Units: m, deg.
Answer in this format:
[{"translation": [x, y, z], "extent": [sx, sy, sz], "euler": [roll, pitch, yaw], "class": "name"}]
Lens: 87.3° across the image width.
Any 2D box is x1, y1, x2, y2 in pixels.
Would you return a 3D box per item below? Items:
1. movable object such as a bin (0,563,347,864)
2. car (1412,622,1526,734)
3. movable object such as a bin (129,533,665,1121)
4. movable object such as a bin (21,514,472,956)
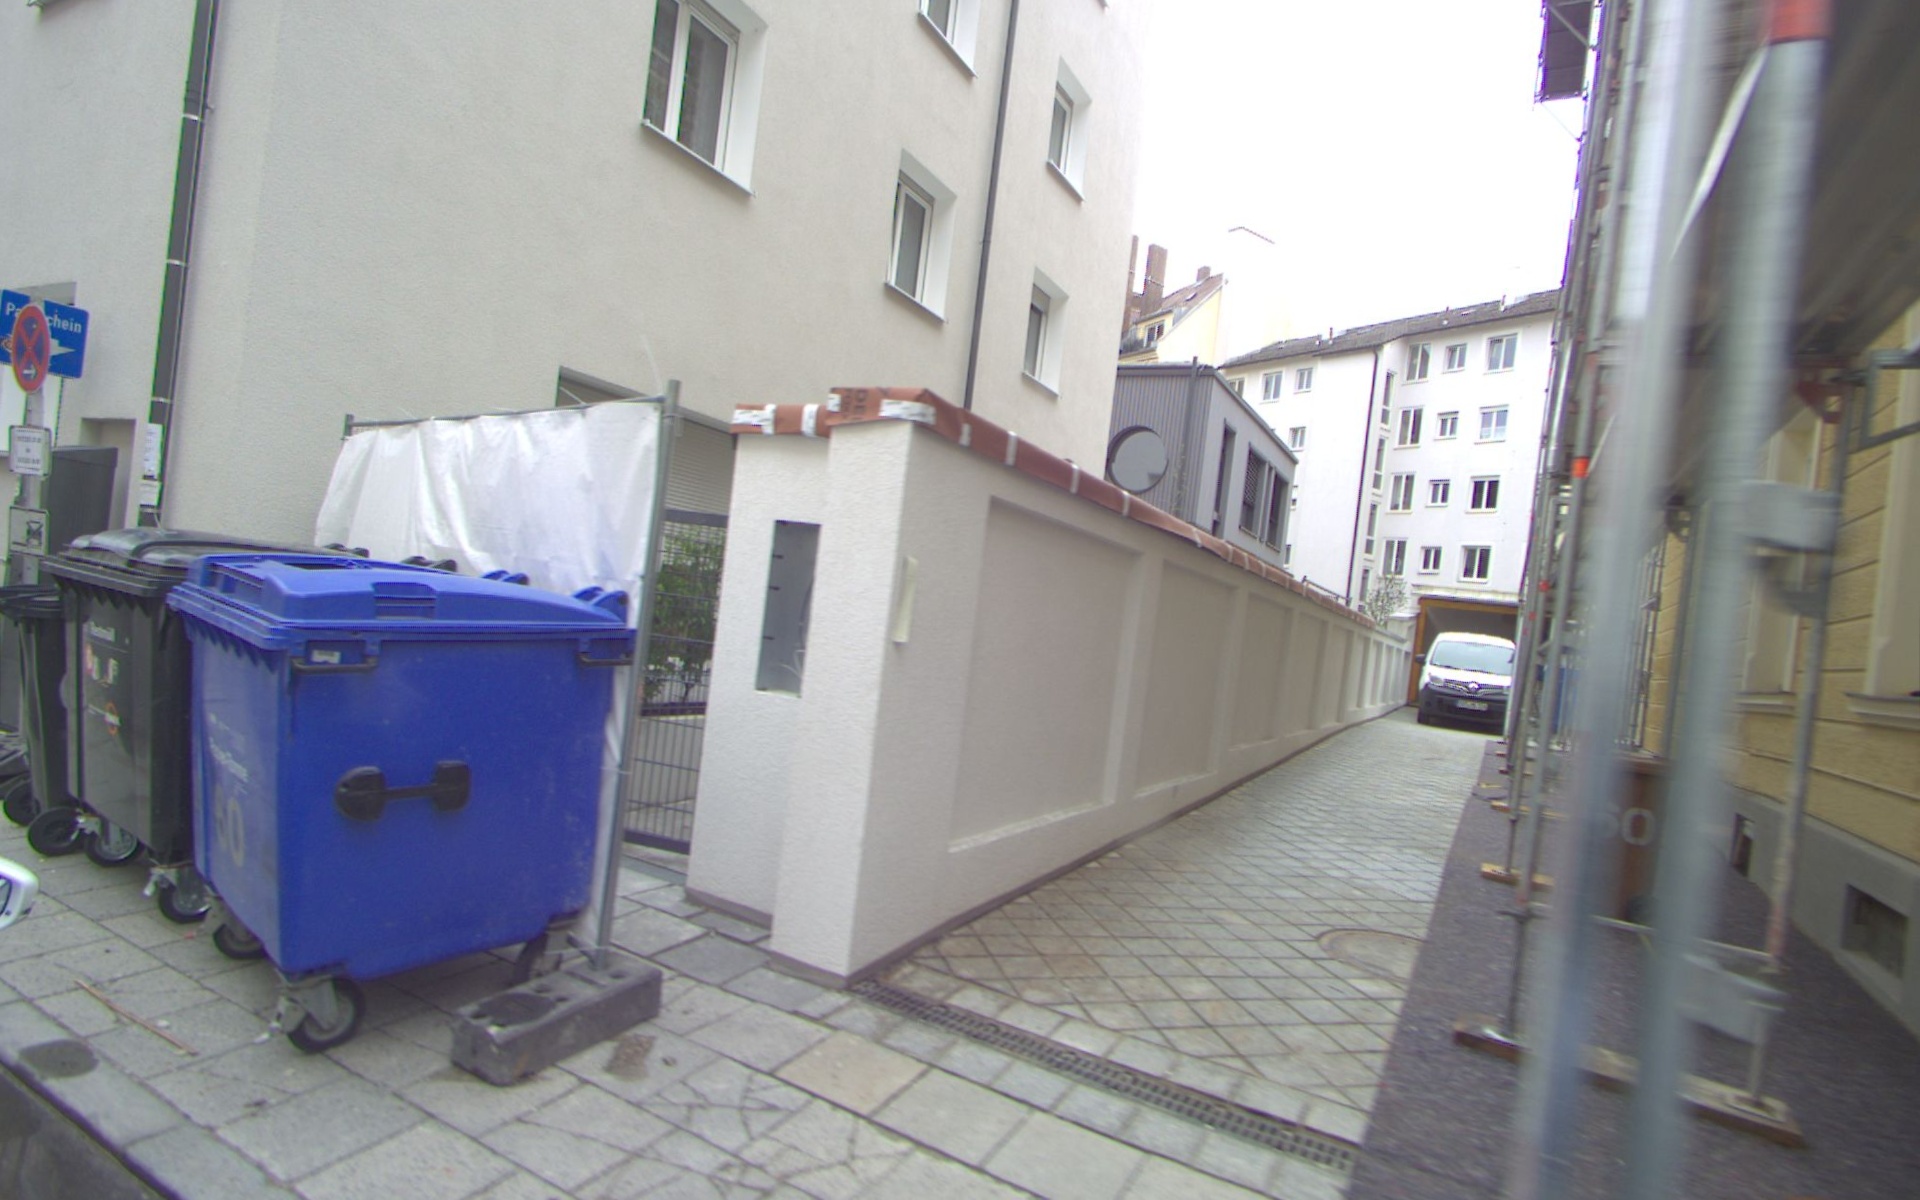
[{"translation": [-3.610, 0.442, 4.538], "extent": [0.777, 1.110, 1.209], "euler": [8, 4, 37], "class": "movable object such as a bin"}, {"translation": [10.014, 1.493, 19.647], "extent": [1.604, 1.791, 3.993], "euler": [7, 0, 30], "class": "car"}, {"translation": [-1.834, 0.550, 3.250], "extent": [1.299, 1.364, 1.083], "euler": [8, 3, 41], "class": "movable object such as a bin"}, {"translation": [-2.812, 0.421, 3.983], "extent": [1.153, 1.364, 1.124], "euler": [8, 4, 37], "class": "movable object such as a bin"}]
